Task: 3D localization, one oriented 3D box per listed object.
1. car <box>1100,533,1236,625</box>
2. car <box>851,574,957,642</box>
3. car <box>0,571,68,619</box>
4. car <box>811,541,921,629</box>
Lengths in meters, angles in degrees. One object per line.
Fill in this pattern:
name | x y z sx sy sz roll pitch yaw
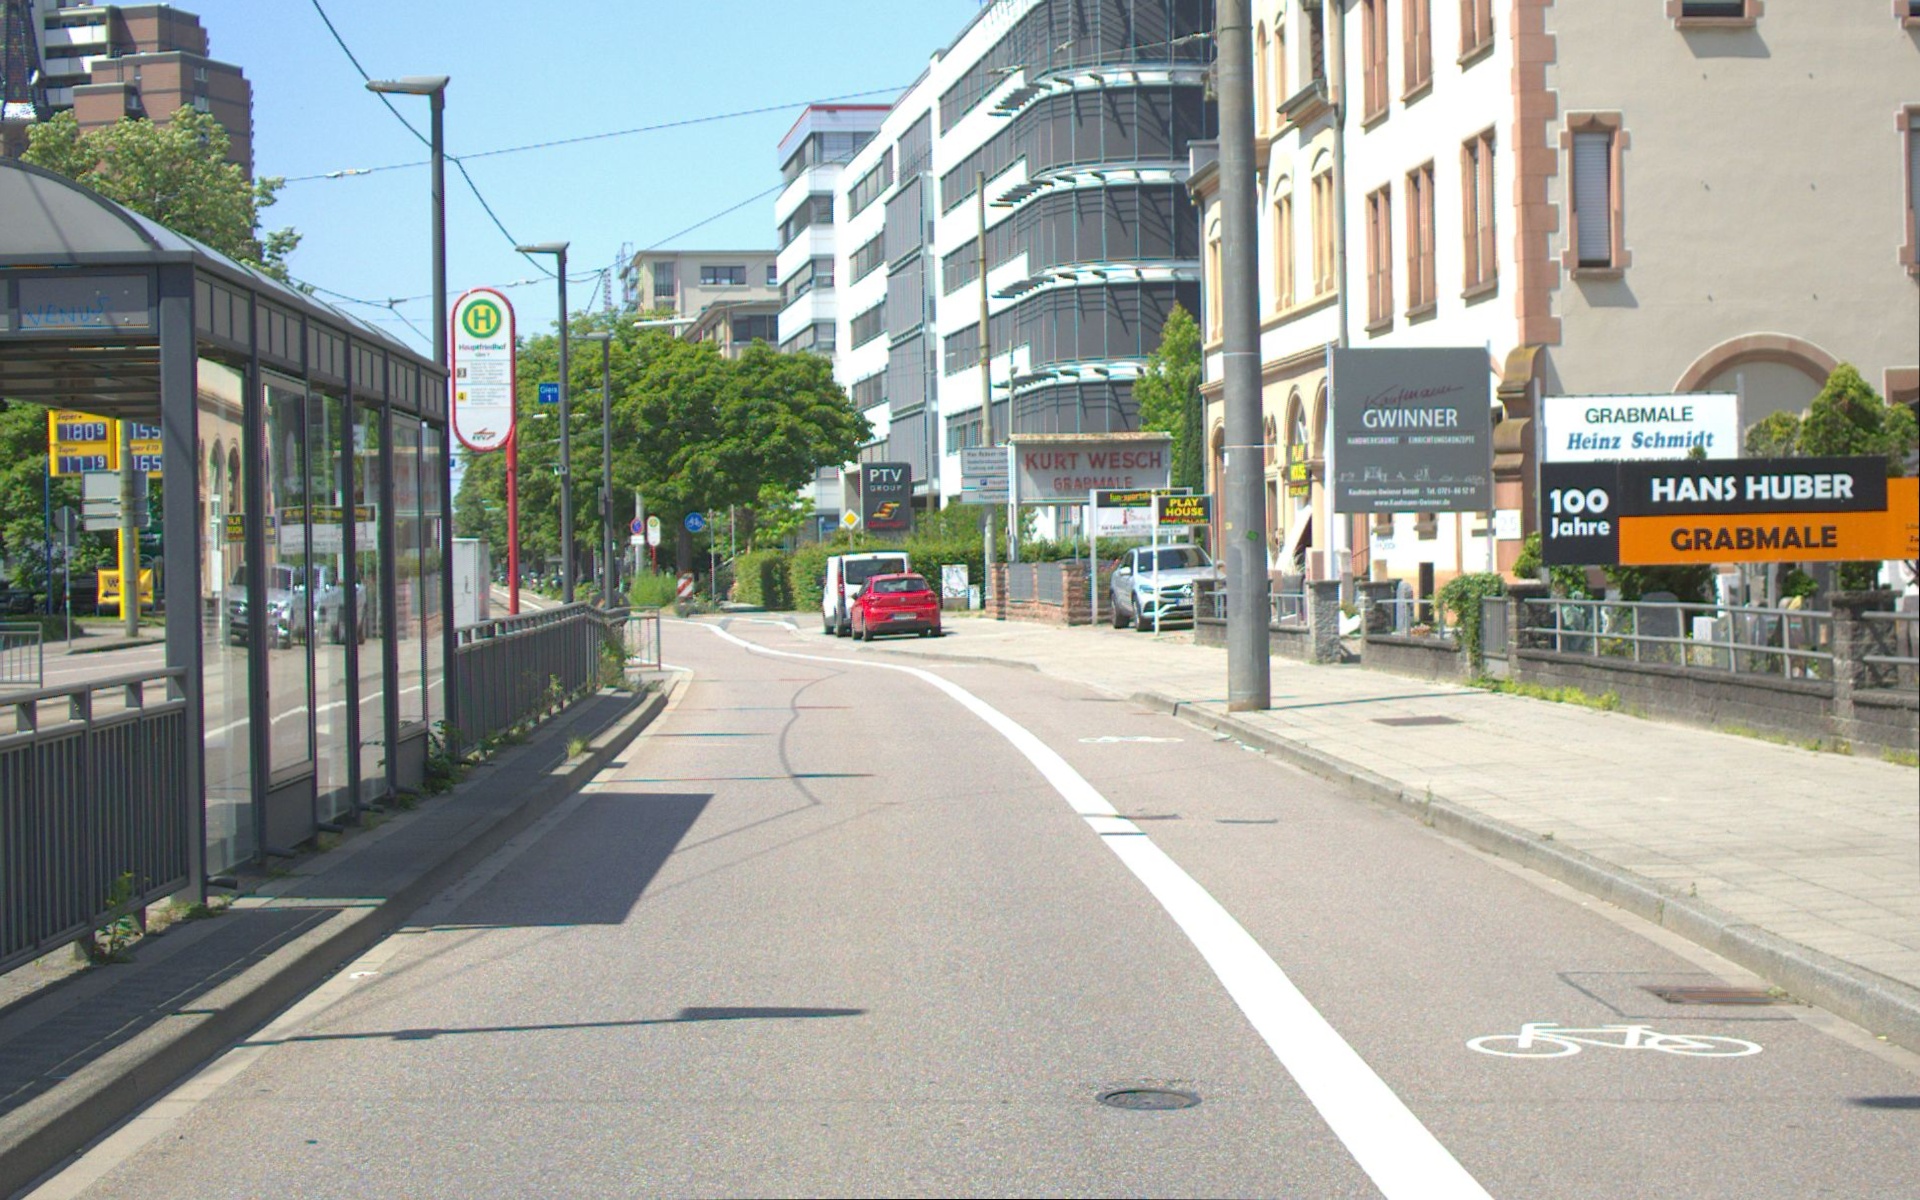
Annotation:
car | 4.023 -0.421 67.255 1.878 1.619 4.640 -4 1 -5
car | -1.284 0.161 76.959 1.993 1.437 4.017 -1 1 -6
car | -32.494 -0.142 116.021 1.998 1.584 4.324 -1 1 36
car | -2.338 -0.386 83.757 1.993 1.985 5.516 -3 1 -8
